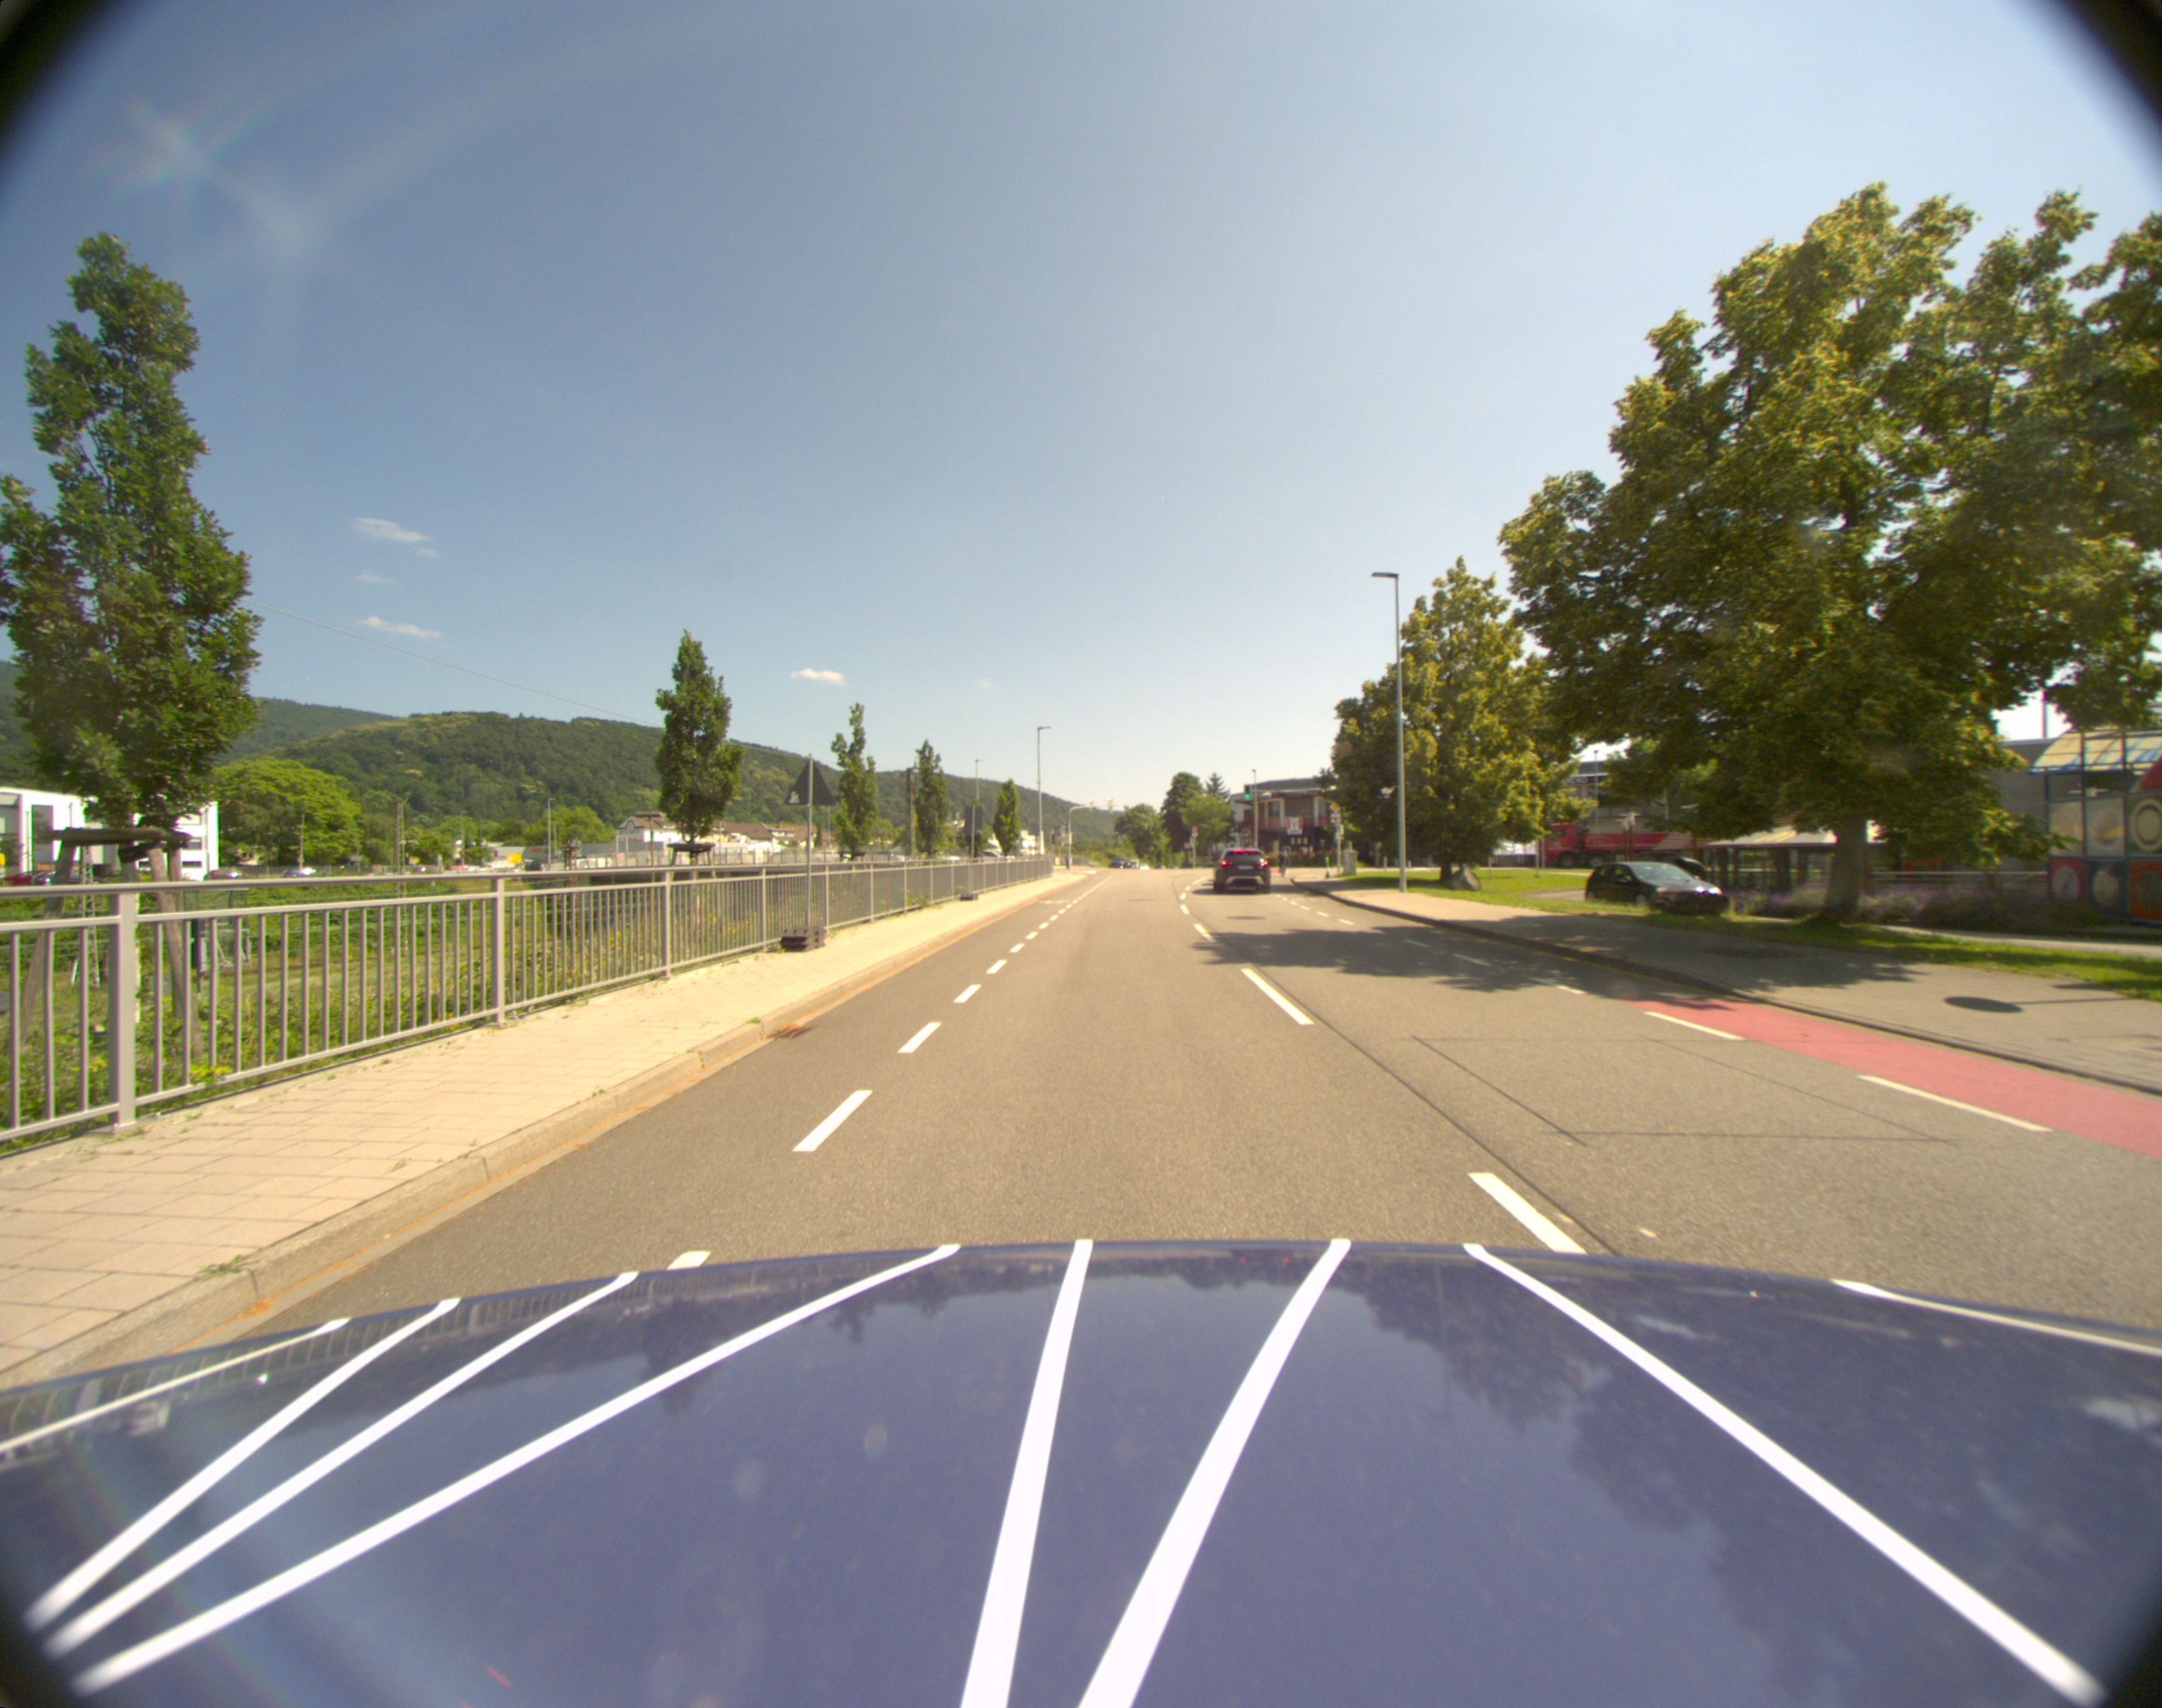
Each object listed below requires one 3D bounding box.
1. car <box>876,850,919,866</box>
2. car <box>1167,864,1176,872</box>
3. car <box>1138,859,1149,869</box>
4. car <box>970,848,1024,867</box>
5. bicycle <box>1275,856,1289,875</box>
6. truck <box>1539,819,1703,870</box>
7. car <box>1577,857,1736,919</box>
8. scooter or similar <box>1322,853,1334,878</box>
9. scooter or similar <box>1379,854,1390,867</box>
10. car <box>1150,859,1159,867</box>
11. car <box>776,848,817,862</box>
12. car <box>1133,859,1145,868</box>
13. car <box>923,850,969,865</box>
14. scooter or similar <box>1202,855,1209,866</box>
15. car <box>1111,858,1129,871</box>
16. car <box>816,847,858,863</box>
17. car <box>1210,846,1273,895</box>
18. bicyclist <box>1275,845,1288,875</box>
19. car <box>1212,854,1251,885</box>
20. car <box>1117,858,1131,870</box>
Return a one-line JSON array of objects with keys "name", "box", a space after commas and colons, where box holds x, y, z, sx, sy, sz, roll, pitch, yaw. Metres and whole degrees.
[{"name": "car", "box": [-19.595, 0.401, 81.067, 4.430, 1.617, 1.740, 0, 2, 30]}, {"name": "car", "box": [18.870, 2.961, 158.415, 1.671, 1.524, 4.002, 0, 0, 7]}, {"name": "car", "box": [10.250, 1.608, 124.686, 1.671, 1.524, 4.002, 0, 0, 7]}, {"name": "car", "box": [-7.844, 0.327, 70.780, 4.621, 1.709, 2.003, 0, 0, 25]}, {"name": "bicycle", "box": [12.036, 0.695, 45.493, 0.698, 1.098, 1.757, 1, 1, 17]}, {"name": "truck", "box": [38.107, -0.608, 54.156, 9.144, 3.366, 3.321, -1, 0, 28]}, {"name": "car", "box": [16.002, 0.871, 21.440, 1.863, 1.543, 4.191, 0, 0, 10]}, {"name": "scooter or similar", "box": [12.171, 0.550, 37.417, 0.472, 1.177, 1.367, 0, 0, 15]}, {"name": "scooter or similar", "box": [27.018, 0.560, 67.574, 0.499, 1.117, 1.507, 0, 0, 37]}, {"name": "car", "box": [13.691, 1.678, 141.471, 1.671, 1.427, 4.002, 0, 0, 7]}, {"name": "car", "box": [-32.746, 0.128, 87.428, 4.432, 1.617, 1.739, -1, 0, 22]}, {"name": "car", "box": [9.034, 1.530, 118.031, 1.671, 1.309, 4.002, 0, 0, 7]}, {"name": "car", "box": [-13.788, 0.358, 77.705, 4.399, 1.461, 1.739, 0, 2, 25]}, {"name": "scooter or similar", "box": [13.246, 0.687, 80.750, 0.426, 1.117, 1.454, 0, 0, 23]}, {"name": "car", "box": [4.976, 1.296, 96.930, 1.828, 1.618, 4.240, 0, 0, 9]}, {"name": "car", "box": [-27.208, 0.104, 84.645, 4.431, 1.617, 1.739, 0, 2, 26]}, {"name": "car", "box": [5.933, 0.575, 28.510, 1.954, 1.685, 4.615, 0, 0, 7]}, {"name": "bicyclist", "box": [12.014, 0.336, 45.467, 0.711, 1.778, 0.810, 0, 1, 17]}, {"name": "car", "box": [7.027, 0.682, 35.259, 1.658, 1.373, 4.004, 0, 0, 12]}, {"name": "car", "box": [5.799, 1.313, 102.079, 1.671, 1.524, 4.002, 0, 0, 7]}]
